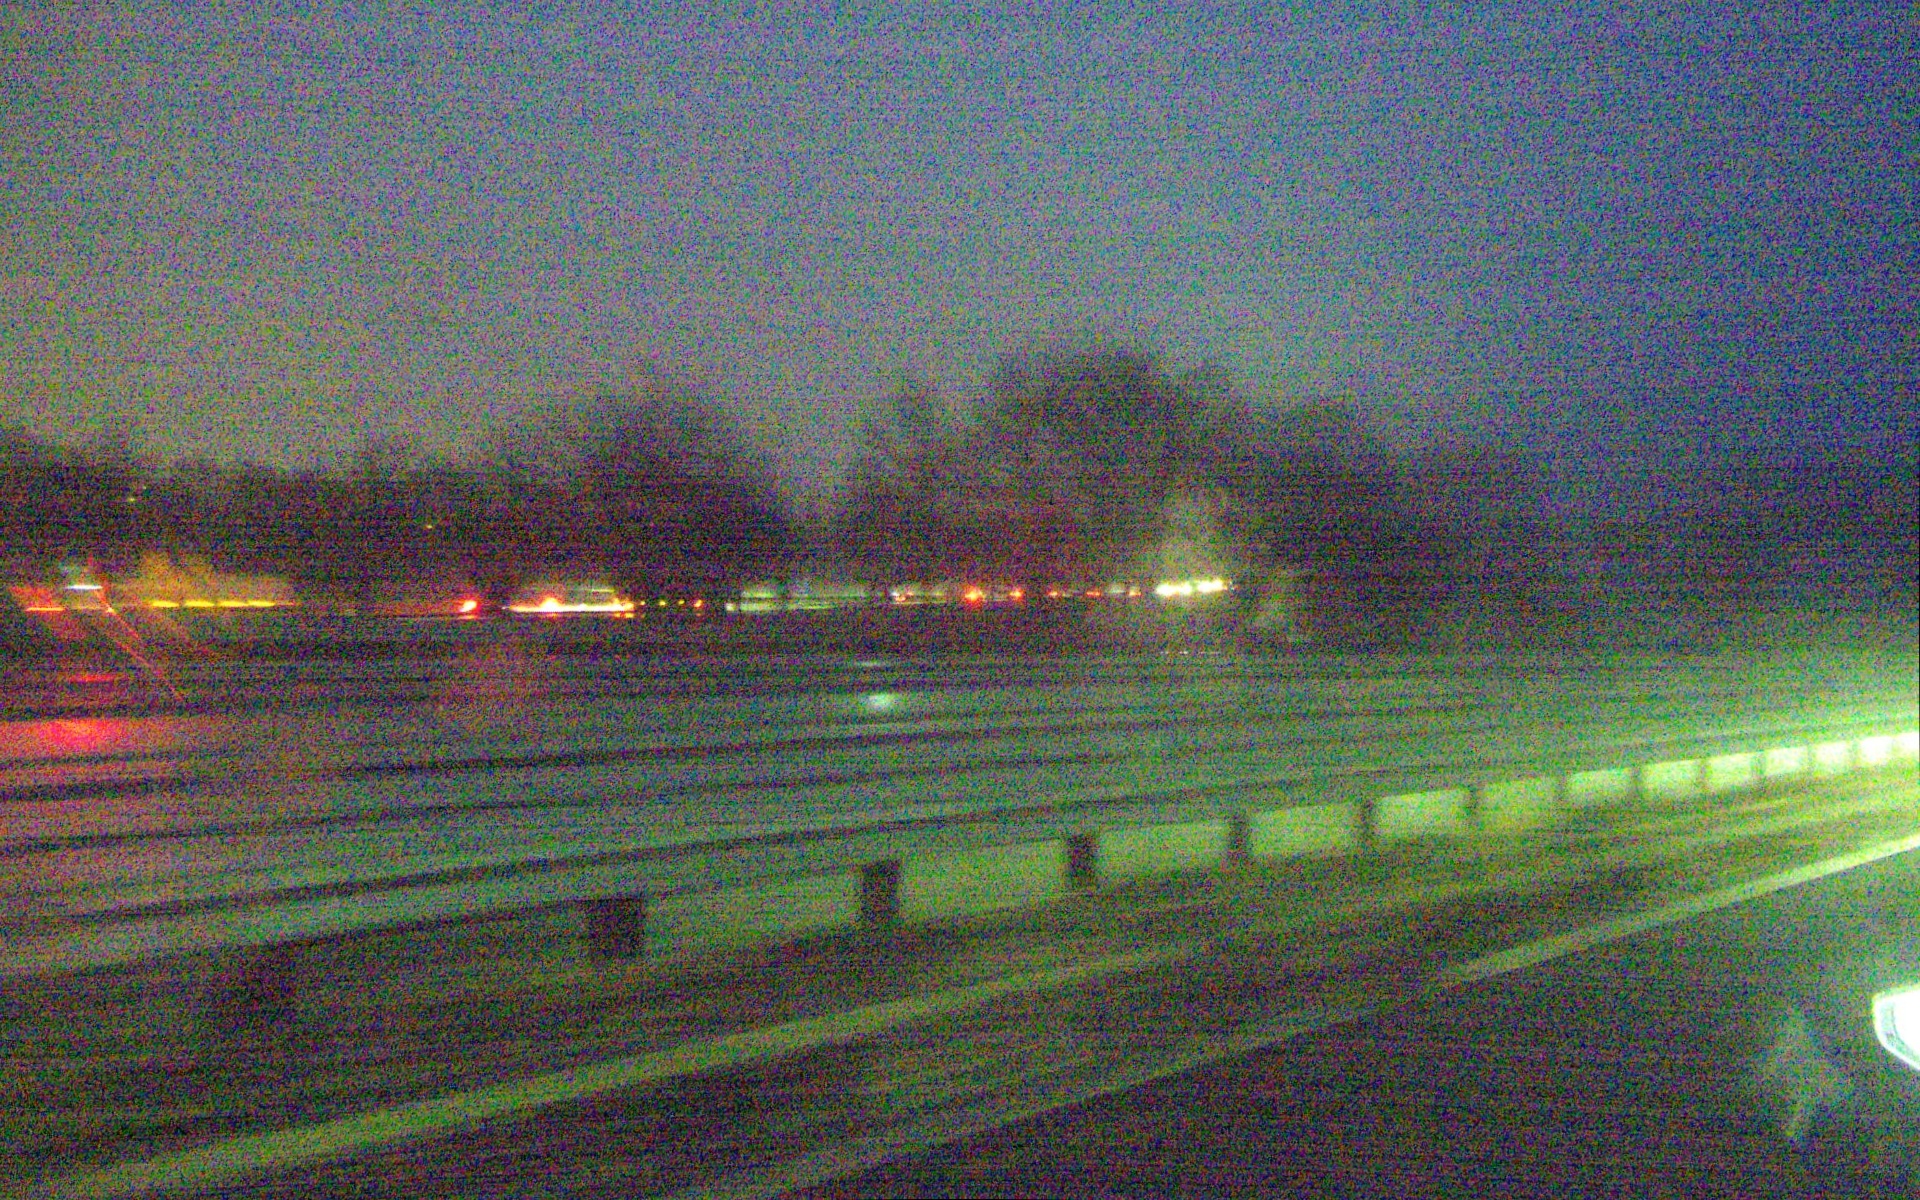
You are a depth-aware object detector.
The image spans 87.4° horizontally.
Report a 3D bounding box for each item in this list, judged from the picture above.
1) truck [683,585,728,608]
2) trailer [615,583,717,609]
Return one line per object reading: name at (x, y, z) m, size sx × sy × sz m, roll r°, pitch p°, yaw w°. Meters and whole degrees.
truck at (-31.154, -0.418, 123.166) m, size 2.640 × 2.726 × 4.743 m, roll 3°, pitch 2°, yaw 34°
trailer at (-34.404, -0.436, 118.230) m, size 2.650 × 2.736 × 12.820 m, roll 3°, pitch 2°, yaw 33°
